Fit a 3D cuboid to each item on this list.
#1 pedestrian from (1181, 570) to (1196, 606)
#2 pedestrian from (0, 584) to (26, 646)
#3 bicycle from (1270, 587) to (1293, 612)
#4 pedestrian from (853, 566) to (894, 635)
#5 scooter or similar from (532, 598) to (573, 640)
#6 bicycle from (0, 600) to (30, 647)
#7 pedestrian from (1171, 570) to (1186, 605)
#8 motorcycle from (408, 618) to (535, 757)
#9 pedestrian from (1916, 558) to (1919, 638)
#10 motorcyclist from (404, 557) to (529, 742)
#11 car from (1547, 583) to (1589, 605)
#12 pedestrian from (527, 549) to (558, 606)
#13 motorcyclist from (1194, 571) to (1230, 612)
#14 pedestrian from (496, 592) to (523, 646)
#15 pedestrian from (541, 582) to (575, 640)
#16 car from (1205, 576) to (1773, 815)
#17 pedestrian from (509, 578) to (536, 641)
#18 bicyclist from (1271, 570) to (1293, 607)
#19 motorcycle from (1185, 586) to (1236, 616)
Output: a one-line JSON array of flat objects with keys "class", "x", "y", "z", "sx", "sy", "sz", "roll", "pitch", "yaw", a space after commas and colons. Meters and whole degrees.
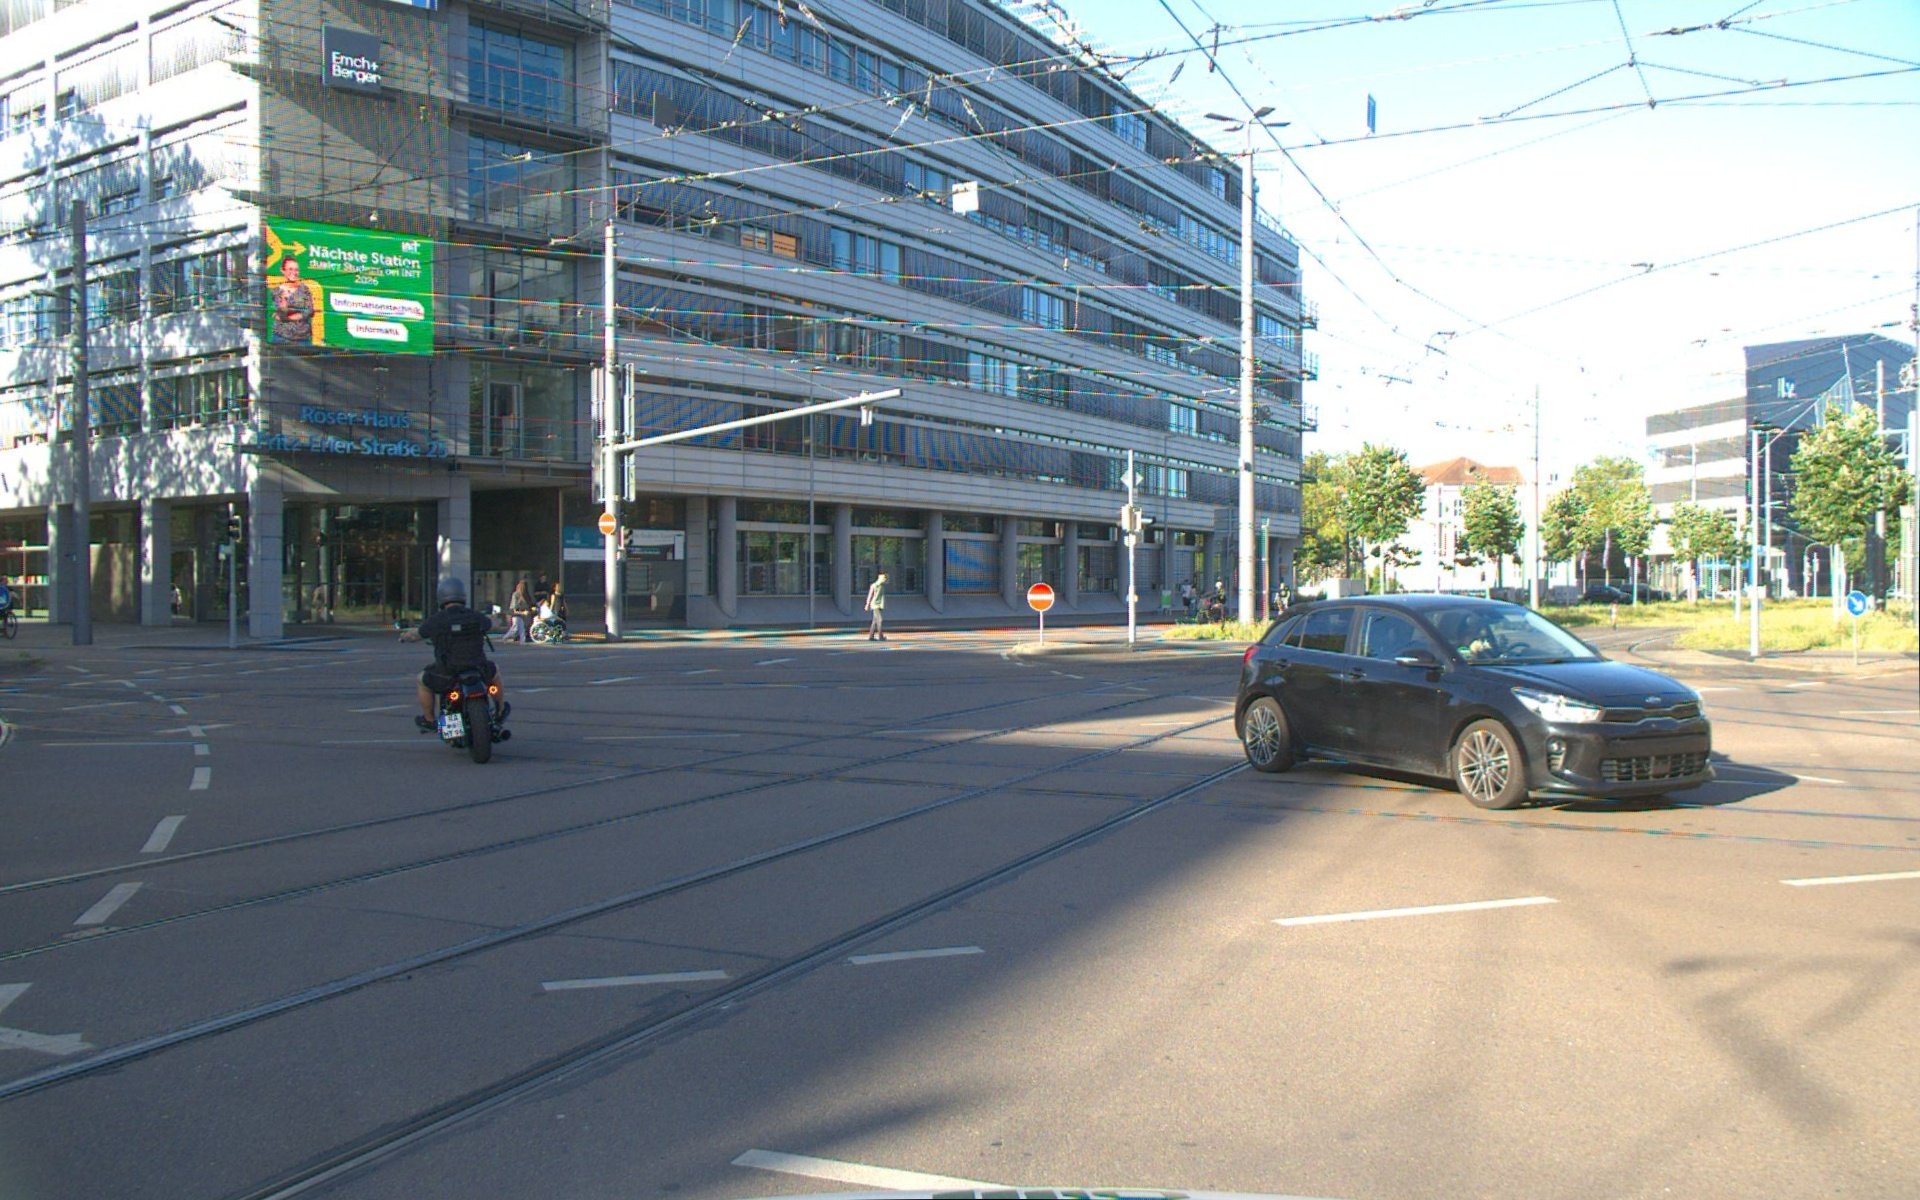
[{"class": "pedestrian", "x": 11.409, "y": -0.608, "z": 82.432, "sx": 0.538, "sy": 1.764, "sz": 0.640, "roll": 0, "pitch": 0, "yaw": 30}, {"class": "pedestrian", "x": -25.980, "y": 0.394, "z": 44.984, "sx": 0.818, "sy": 1.638, "sz": 0.606, "roll": 1, "pitch": 3, "yaw": 24}, {"class": "bicycle", "x": 14.795, "y": -0.043, "z": 76.012, "sx": 0.630, "sy": 1.127, "sz": 1.684, "roll": 0, "pitch": 0, "yaw": 25}, {"class": "pedestrian", "x": -2.338, "y": 0.020, "z": 44.829, "sx": 0.868, "sy": 1.855, "sz": 0.674, "roll": -2, "pitch": -1, "yaw": 36}, {"class": "scooter or similar", "x": -11.265, "y": 0.531, "z": 45.735, "sx": 0.995, "sy": 1.149, "sz": 0.550, "roll": 0, "pitch": 0, "yaw": -5}, {"class": "bicycle", "x": -26.093, "y": 0.629, "z": 44.823, "sx": 1.806, "sy": 1.183, "sz": 0.612, "roll": 1, "pitch": 4, "yaw": 26}, {"class": "pedestrian", "x": 10.909, "y": -0.622, "z": 82.708, "sx": 0.538, "sy": 1.764, "sz": 0.640, "roll": 0, "pitch": 0, "yaw": 30}, {"class": "motorcycle", "x": -4.452, "y": 0.744, "z": 14.963, "sx": 0.990, "sy": 1.145, "sz": 2.310, "roll": 1, "pitch": -1, "yaw": -19}, {"class": "pedestrian", "x": 19.648, "y": -0.038, "z": 33.317, "sx": 0.644, "sy": 1.610, "sz": 0.488, "roll": 0, "pitch": 1, "yaw": 28}, {"class": "motorcyclist", "x": -4.442, "y": 0.412, "z": 14.833, "sx": 1.007, "sy": 1.579, "sz": 1.279, "roll": 1, "pitch": 1, "yaw": -19}, {"class": "car", "x": 57.620, "y": -0.621, "z": 156.906, "sx": 1.958, "sy": 2.049, "sz": 3.988, "roll": 0, "pitch": 0, "yaw": -12}, {"class": "pedestrian", "x": -12.826, "y": -0.696, "z": 50.791, "sx": 0.633, "sy": 1.745, "sz": 0.687, "roll": 0, "pitch": 0, "yaw": 38}, {"class": "motorcyclist", "x": 10.750, "y": -0.361, "z": 70.453, "sx": 1.001, "sy": 1.761, "sz": 1.456, "roll": 0, "pitch": 0, "yaw": 35}, {"class": "pedestrian", "x": -12.135, "y": 0.507, "z": 44.577, "sx": 0.624, "sy": 1.426, "sz": 0.546, "roll": 0, "pitch": 0, "yaw": -5}, {"class": "pedestrian", "x": -11.436, "y": 0.311, "z": 47.047, "sx": 0.708, "sy": 1.645, "sz": 0.653, "roll": 0, "pitch": 0, "yaw": 33}, {"class": "car", "x": 3.819, "y": 0.585, "z": 12.771, "sx": 1.769, "sy": 1.491, "sz": 4.276, "roll": -1, "pitch": 1, "yaw": -25}, {"class": "pedestrian", "x": -12.075, "y": 0.264, "z": 45.641, "sx": 0.624, "sy": 1.738, "sz": 0.581, "roll": 0, "pitch": 0, "yaw": -5}, {"class": "bicyclist", "x": 14.794, "y": -0.525, "z": 76.019, "sx": 0.749, "sy": 1.696, "sz": 0.993, "roll": 0, "pitch": 0, "yaw": 26}, {"class": "motorcycle", "x": 10.669, "y": 0.041, "z": 70.325, "sx": 0.966, "sy": 1.253, "sz": 2.933, "roll": 0, "pitch": 0, "yaw": 34}]
